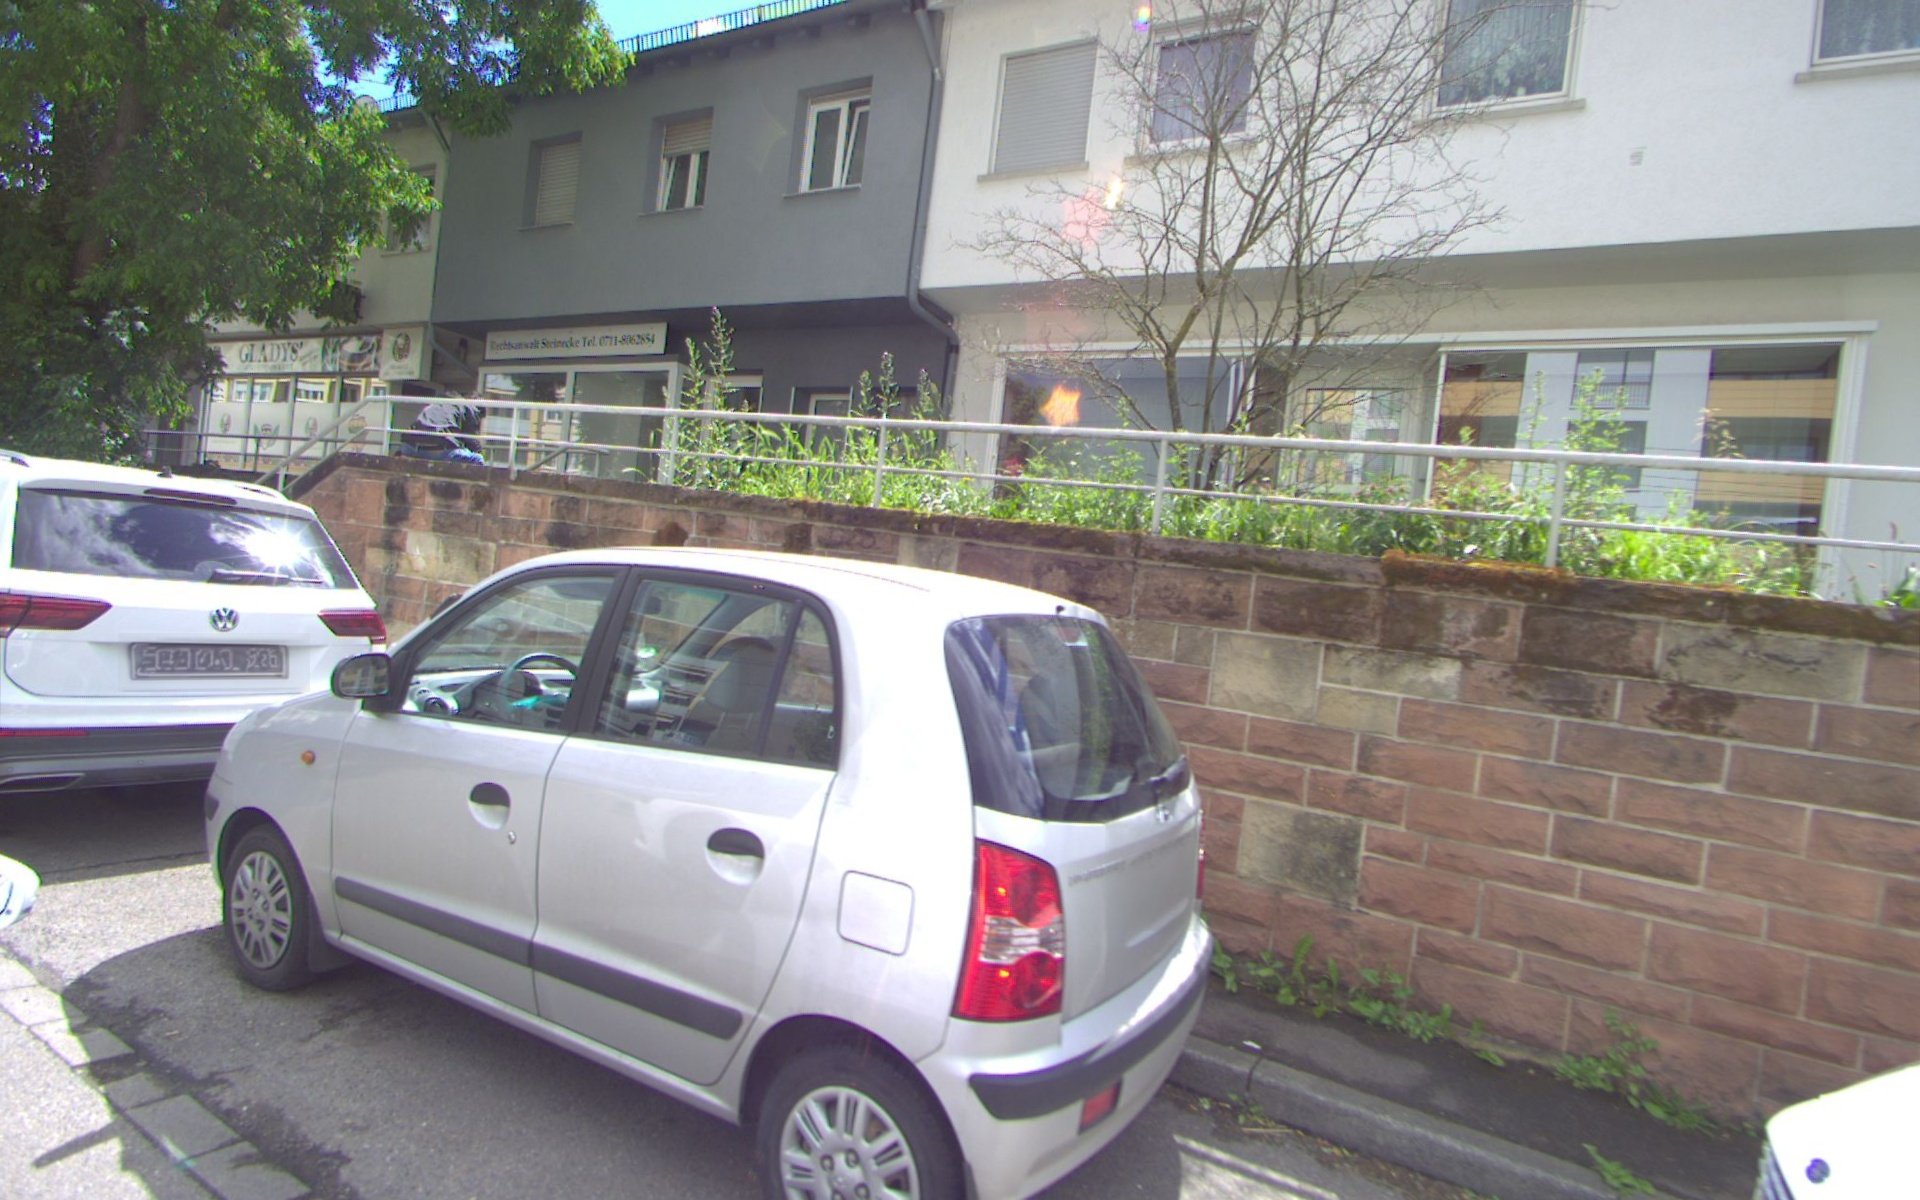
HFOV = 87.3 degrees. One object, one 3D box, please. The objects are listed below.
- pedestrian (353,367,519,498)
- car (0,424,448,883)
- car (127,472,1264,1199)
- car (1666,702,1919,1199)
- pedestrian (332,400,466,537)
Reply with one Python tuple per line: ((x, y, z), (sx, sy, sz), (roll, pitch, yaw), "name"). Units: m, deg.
((-3.963, -1.260, 7.631), (0.693, 0.799, 0.796), (8, 0, 29), "pedestrian")
((-5.028, 0.023, 5.536), (4.501, 1.703, 1.825), (7, 1, 33), "car")
((-0.972, 0.586, 3.386), (3.415, 1.571, 1.584), (7, 0, 29), "car")
((3.018, 1.140, 0.829), (3.757, 1.508, 1.648), (7, 0, 30), "car")
((-4.444, -1.033, 7.981), (0.605, 0.957, 0.642), (8, 2, 29), "pedestrian")
